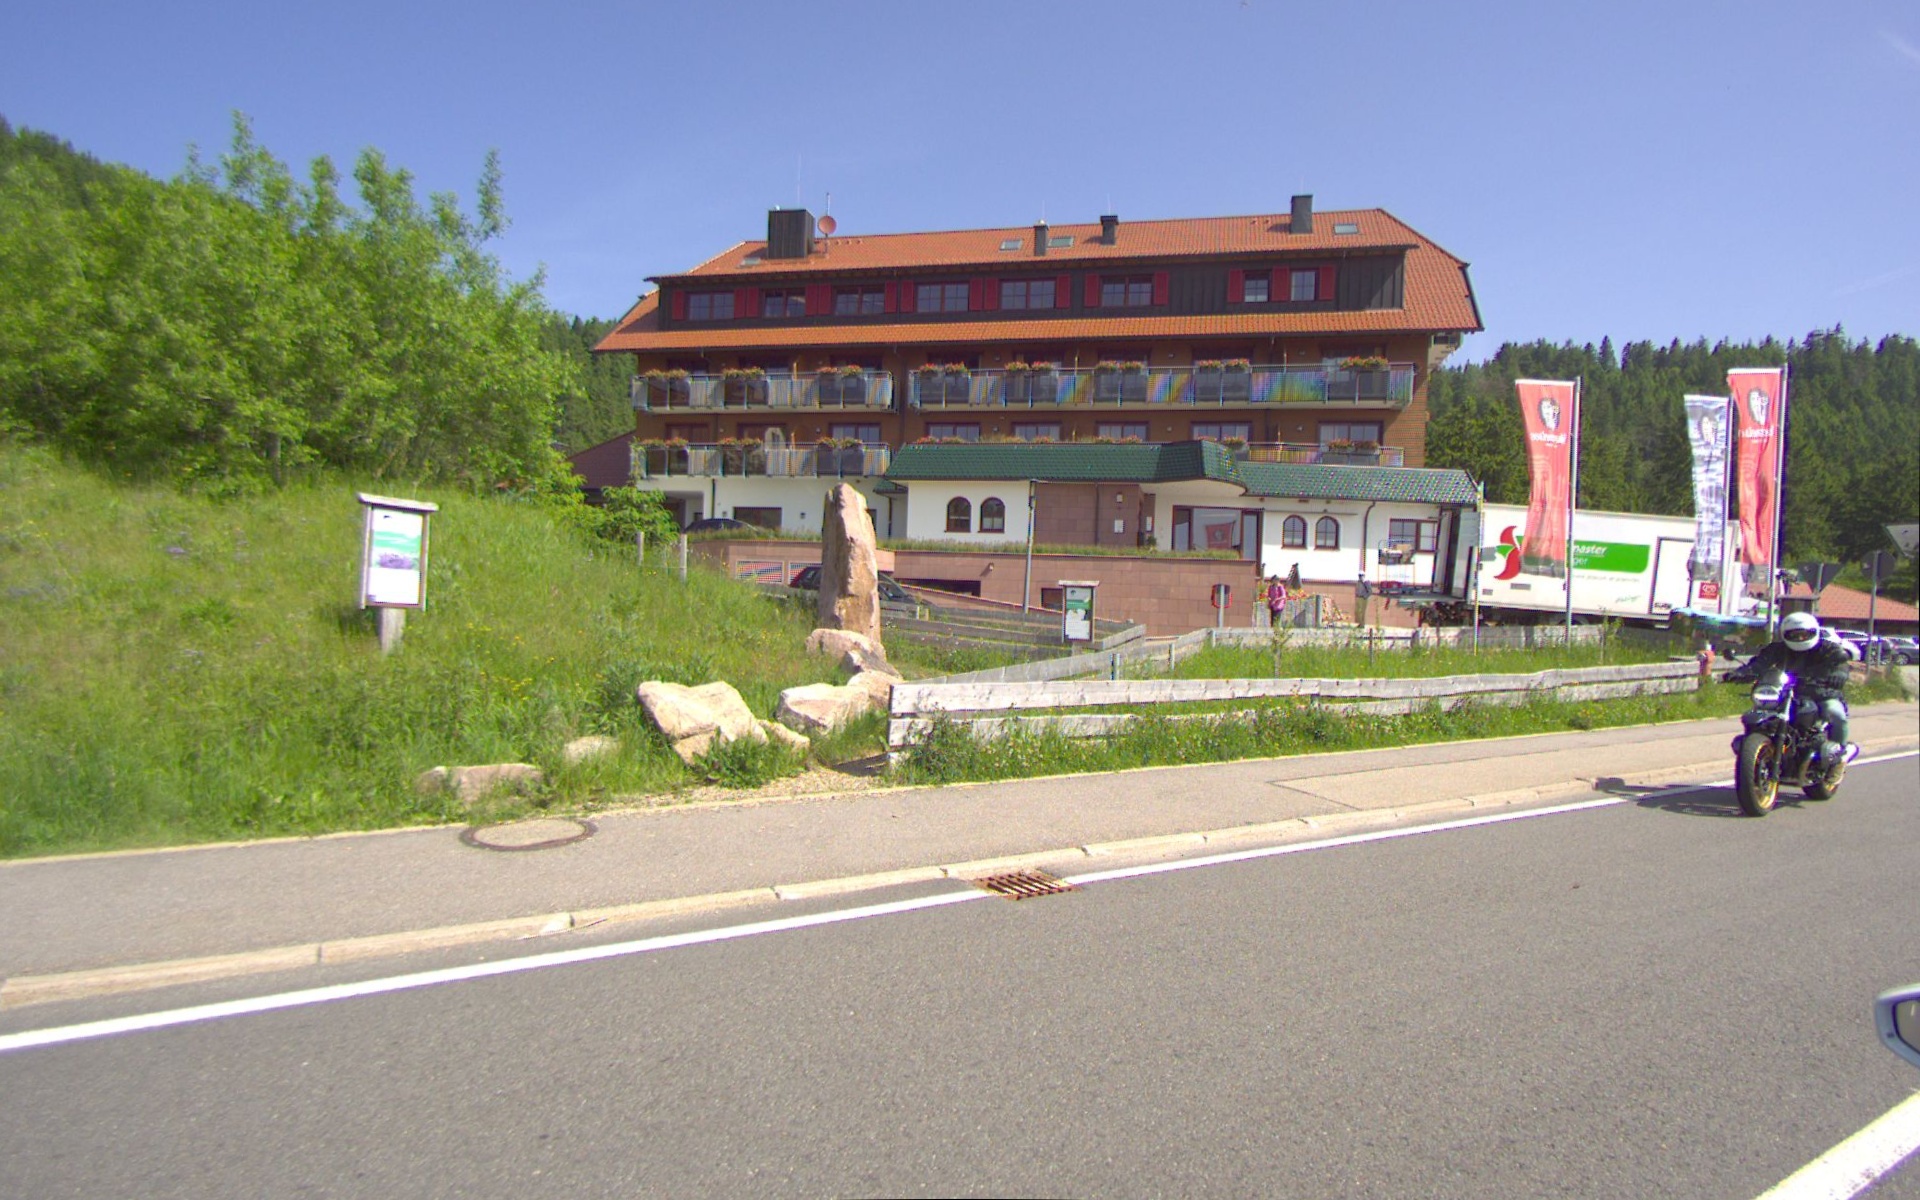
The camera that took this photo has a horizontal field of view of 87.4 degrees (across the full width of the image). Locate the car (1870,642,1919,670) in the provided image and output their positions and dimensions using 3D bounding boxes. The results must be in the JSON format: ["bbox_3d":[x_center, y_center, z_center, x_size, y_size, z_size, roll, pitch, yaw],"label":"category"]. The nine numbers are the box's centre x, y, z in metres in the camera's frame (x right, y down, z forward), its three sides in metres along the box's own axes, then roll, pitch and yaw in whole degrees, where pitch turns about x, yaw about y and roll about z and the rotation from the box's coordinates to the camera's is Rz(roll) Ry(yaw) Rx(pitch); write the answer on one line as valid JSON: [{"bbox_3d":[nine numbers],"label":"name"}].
[{"bbox_3d":[52.014,3.062,54.139,3.921,1.389,1.812,2,0,19],"label":"car"}]

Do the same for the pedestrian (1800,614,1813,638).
[{"bbox_3d":[66.858,2.065,79.329,0.517,1.898,0.547,3,0,11],"label":"pedestrian"}]

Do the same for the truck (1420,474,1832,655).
[{"bbox_3d":[17.629,-1.003,27.225,8.596,4.025,3.071,4,3,5],"label":"truck"}]

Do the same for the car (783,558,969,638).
[{"bbox_3d":[-1.981,-0.047,24.095,3.922,1.371,1.880,7,1,18],"label":"car"}]

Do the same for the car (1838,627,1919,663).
[{"bbox_3d":[48.735,2.337,52.418,3.920,1.726,1.826,2,0,18],"label":"car"}]

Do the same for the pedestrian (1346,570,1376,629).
[{"bbox_3d":[11.928,-0.011,29.921,0.640,1.712,0.575,2,0,4],"label":"pedestrian"}]

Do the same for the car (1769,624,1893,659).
[{"bbox_3d":[40.797,1.921,47.149,3.919,1.449,1.915,2,0,12],"label":"car"}]

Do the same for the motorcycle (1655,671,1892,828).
[{"bbox_3d":[6.760,1.164,8.321,2.157,1.110,0.835,2,-2,-31],"label":"motorcycle"}]

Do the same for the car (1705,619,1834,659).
[{"bbox_3d":[35.507,1.684,44.173,3.919,1.566,2.001,2,0,14],"label":"car"}]

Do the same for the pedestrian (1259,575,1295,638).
[{"bbox_3d":[9.019,0.191,28.603,0.782,1.739,0.699,2,0,4],"label":"pedestrian"}]

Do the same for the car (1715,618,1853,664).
[{"bbox_3d":[37.468,1.853,45.804,4.439,1.888,1.836,2,0,15],"label":"car"}]

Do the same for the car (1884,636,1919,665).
[{"bbox_3d":[56.128,2.939,57.767,3.919,1.565,1.900,2,0,14],"label":"car"}]

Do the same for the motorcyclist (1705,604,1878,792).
[{"bbox_3d":[6.960,0.781,8.415,0.994,1.460,0.835,2,-2,-30],"label":"motorcyclist"}]

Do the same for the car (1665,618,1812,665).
[{"bbox_3d":[32.835,1.729,42.487,4.453,1.686,1.941,3,0,12],"label":"car"}]

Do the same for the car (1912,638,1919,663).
[{"bbox_3d":[59.118,3.060,59.170,3.919,1.439,1.909,2,-1,13],"label":"car"}]

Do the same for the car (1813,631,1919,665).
[{"bbox_3d":[46.114,2.405,50.894,3.997,1.506,1.717,2,0,13],"label":"car"}]
